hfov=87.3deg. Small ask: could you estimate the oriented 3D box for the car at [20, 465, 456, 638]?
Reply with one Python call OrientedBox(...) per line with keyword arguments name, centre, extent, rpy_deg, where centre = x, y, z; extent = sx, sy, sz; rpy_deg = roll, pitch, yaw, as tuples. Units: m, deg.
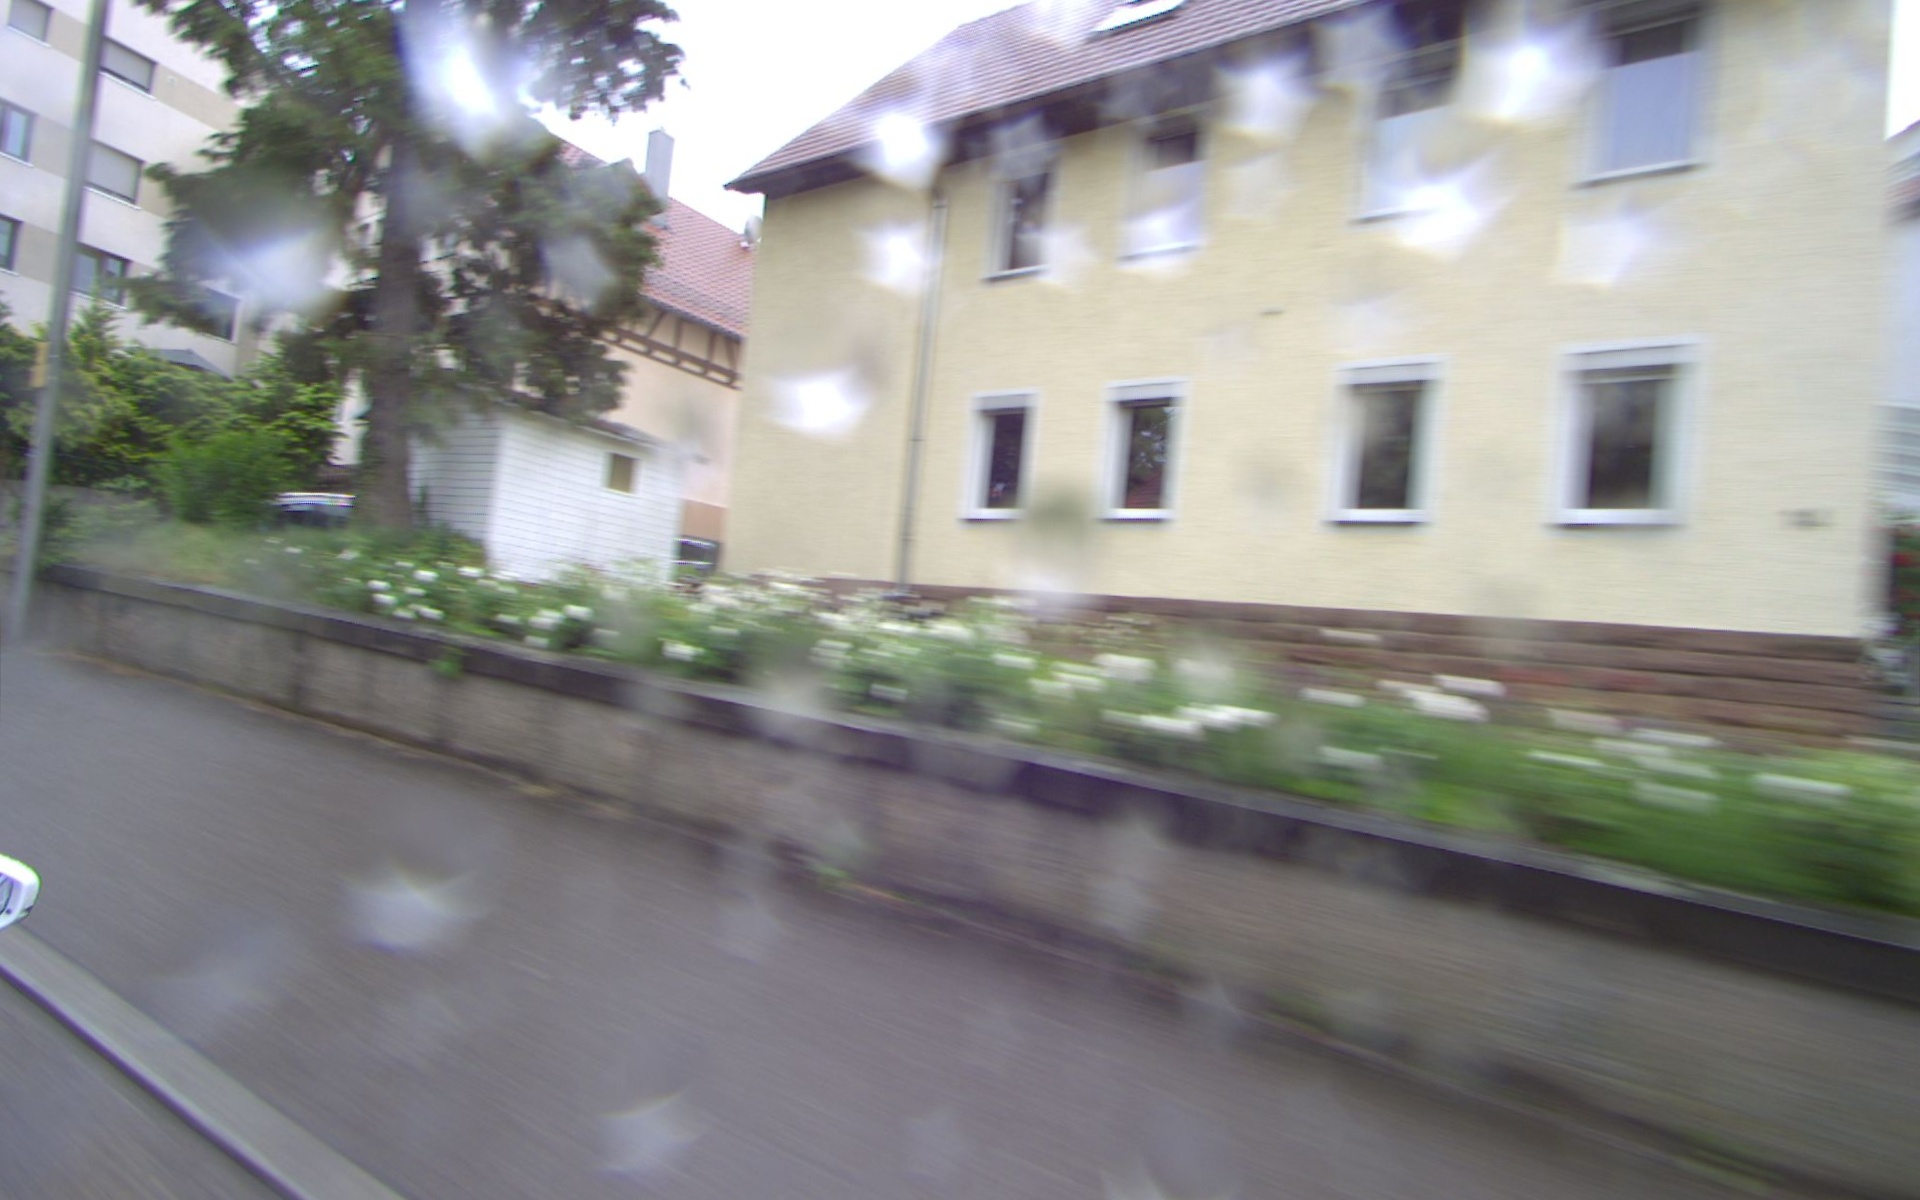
OrientedBox(name="car", centre=(-9.530, -0.555, 13.632), extent=(1.933, 1.673, 4.318), rpy_deg=(7, -1, 36))
